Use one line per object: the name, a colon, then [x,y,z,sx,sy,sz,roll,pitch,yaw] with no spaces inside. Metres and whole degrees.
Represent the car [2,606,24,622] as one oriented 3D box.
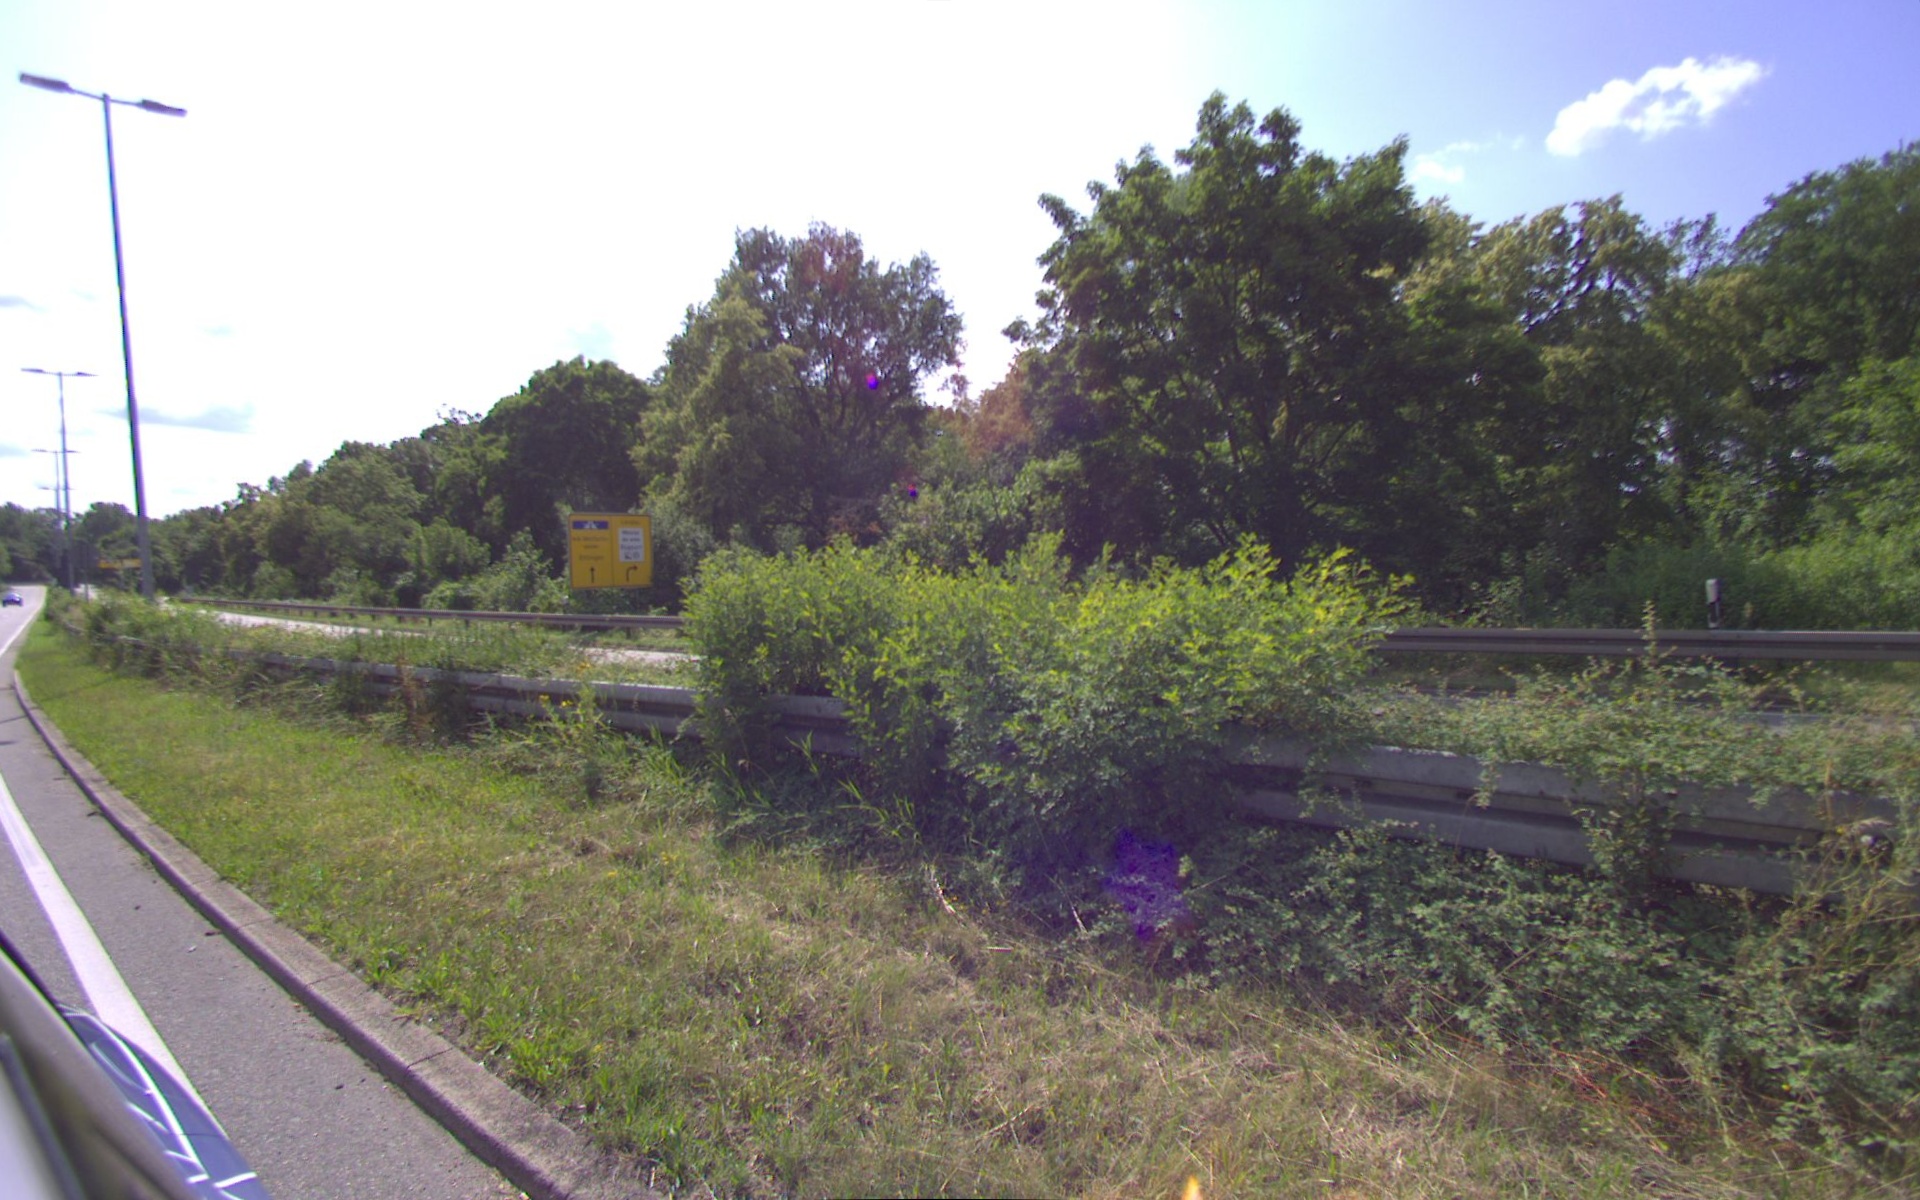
car: [-119.704,1.748,127.989,1.948,2.029,4.005,-1,1,-43]
